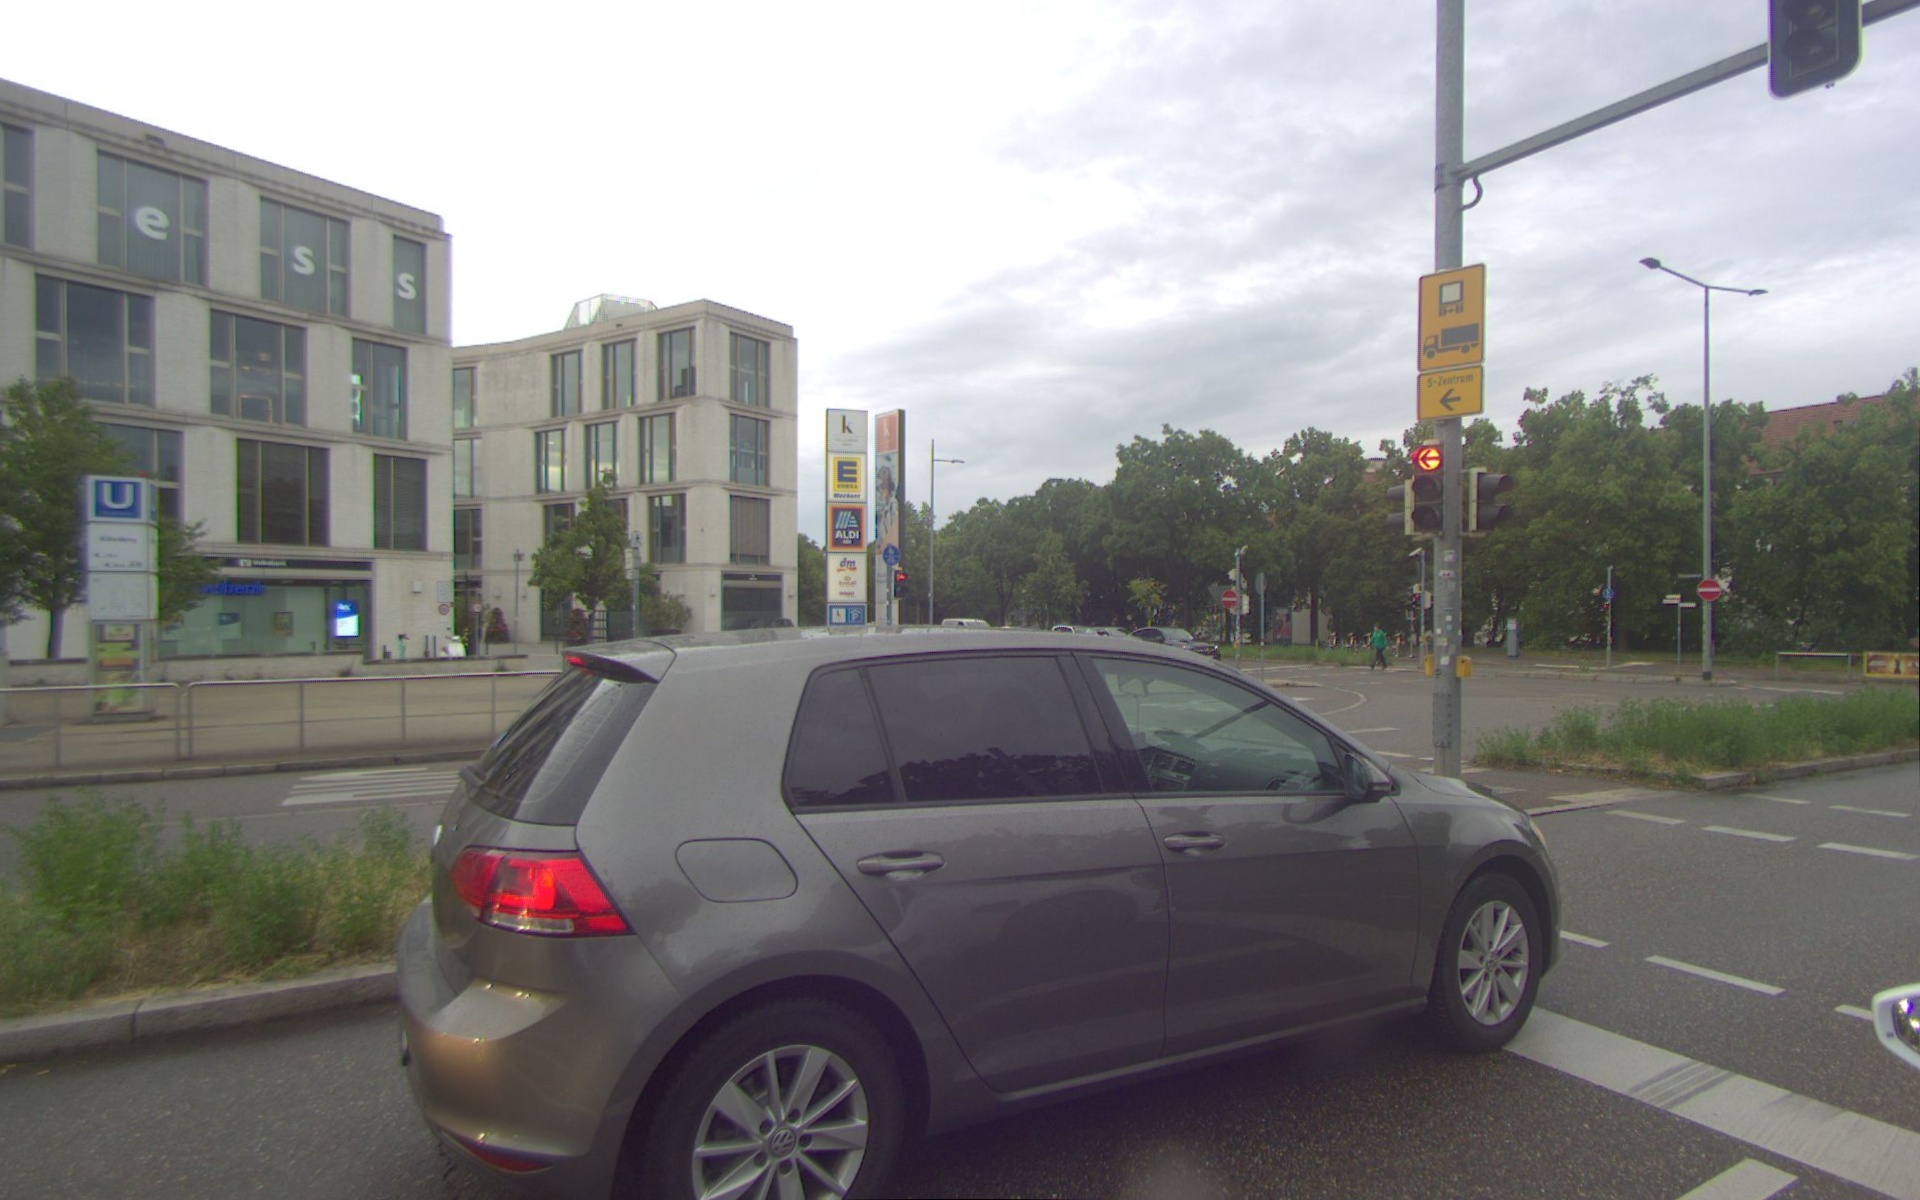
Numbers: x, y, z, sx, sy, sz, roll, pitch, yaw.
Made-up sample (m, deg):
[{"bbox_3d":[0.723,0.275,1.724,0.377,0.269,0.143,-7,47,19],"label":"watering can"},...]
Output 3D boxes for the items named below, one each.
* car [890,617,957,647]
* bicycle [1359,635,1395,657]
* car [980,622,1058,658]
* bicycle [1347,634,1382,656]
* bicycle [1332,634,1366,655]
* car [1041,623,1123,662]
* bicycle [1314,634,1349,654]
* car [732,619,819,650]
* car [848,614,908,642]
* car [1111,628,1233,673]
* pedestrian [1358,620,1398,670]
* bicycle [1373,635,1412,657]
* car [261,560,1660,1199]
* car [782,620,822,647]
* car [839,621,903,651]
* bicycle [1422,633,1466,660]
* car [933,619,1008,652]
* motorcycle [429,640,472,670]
[{"bbox_3d":[-2.262,1.889,60.394,1.976,1.615,4.855,2,0,-29],"label":"car"},{"bbox_3d":[21.667,2.395,52.175,1.959,1.085,0.649,2,0,-30],"label":"bicycle"},{"bbox_3d":[2.952,1.997,50.885,1.976,1.615,4.185,2,0,-29],"label":"car"},{"bbox_3d":[21.366,2.378,53.035,1.959,1.085,0.649,2,0,-30],"label":"bicycle"},{"bbox_3d":[20.933,2.389,54.036,1.959,1.085,0.649,2,0,-30],"label":"bicycle"},{"bbox_3d":[5.551,1.910,46.028,1.976,1.615,3.536,2,0,-30],"label":"car"},{"bbox_3d":[20.262,2.403,54.765,1.959,1.085,0.649,2,0,-30],"label":"bicycle"},{"bbox_3d":[-9.192,1.720,50.318,1.968,1.483,3.985,0,-2,37],"label":"car"},{"bbox_3d":[-5.464,1.820,66.113,1.977,1.615,4.852,2,0,-31],"label":"car"},{"bbox_3d":[8.390,1.966,40.241,1.976,1.520,5.001,2,0,-29],"label":"car"},{"bbox_3d":[15.367,1.649,36.959,0.933,1.750,0.920,2,0,-23],"label":"pedestrian"},{"bbox_3d":[22.238,2.361,51.651,1.959,1.085,0.798,2,0,-30],"label":"bicycle"},{"bbox_3d":[0.325,0.749,3.466,4.325,1.501,1.807,2,-1,-30],"label":"car"},{"bbox_3d":[-12.698,2.670,80.584,1.976,2.040,3.969,1,-1,-29],"label":"car"},{"bbox_3d":[-5.334,2.115,59.699,1.976,1.615,4.855,2,0,-29],"label":"car"},{"bbox_3d":[23.754,2.278,49.263,1.959,1.266,0.986,2,0,-30],"label":"bicycle"},{"bbox_3d":[0.527,1.947,55.406,1.976,1.615,4.855,2,0,-29],"label":"car"},{"bbox_3d":[-14.154,1.526,27.895,1.081,0.750,0.522,2,0,29],"label":"motorcycle"}]
